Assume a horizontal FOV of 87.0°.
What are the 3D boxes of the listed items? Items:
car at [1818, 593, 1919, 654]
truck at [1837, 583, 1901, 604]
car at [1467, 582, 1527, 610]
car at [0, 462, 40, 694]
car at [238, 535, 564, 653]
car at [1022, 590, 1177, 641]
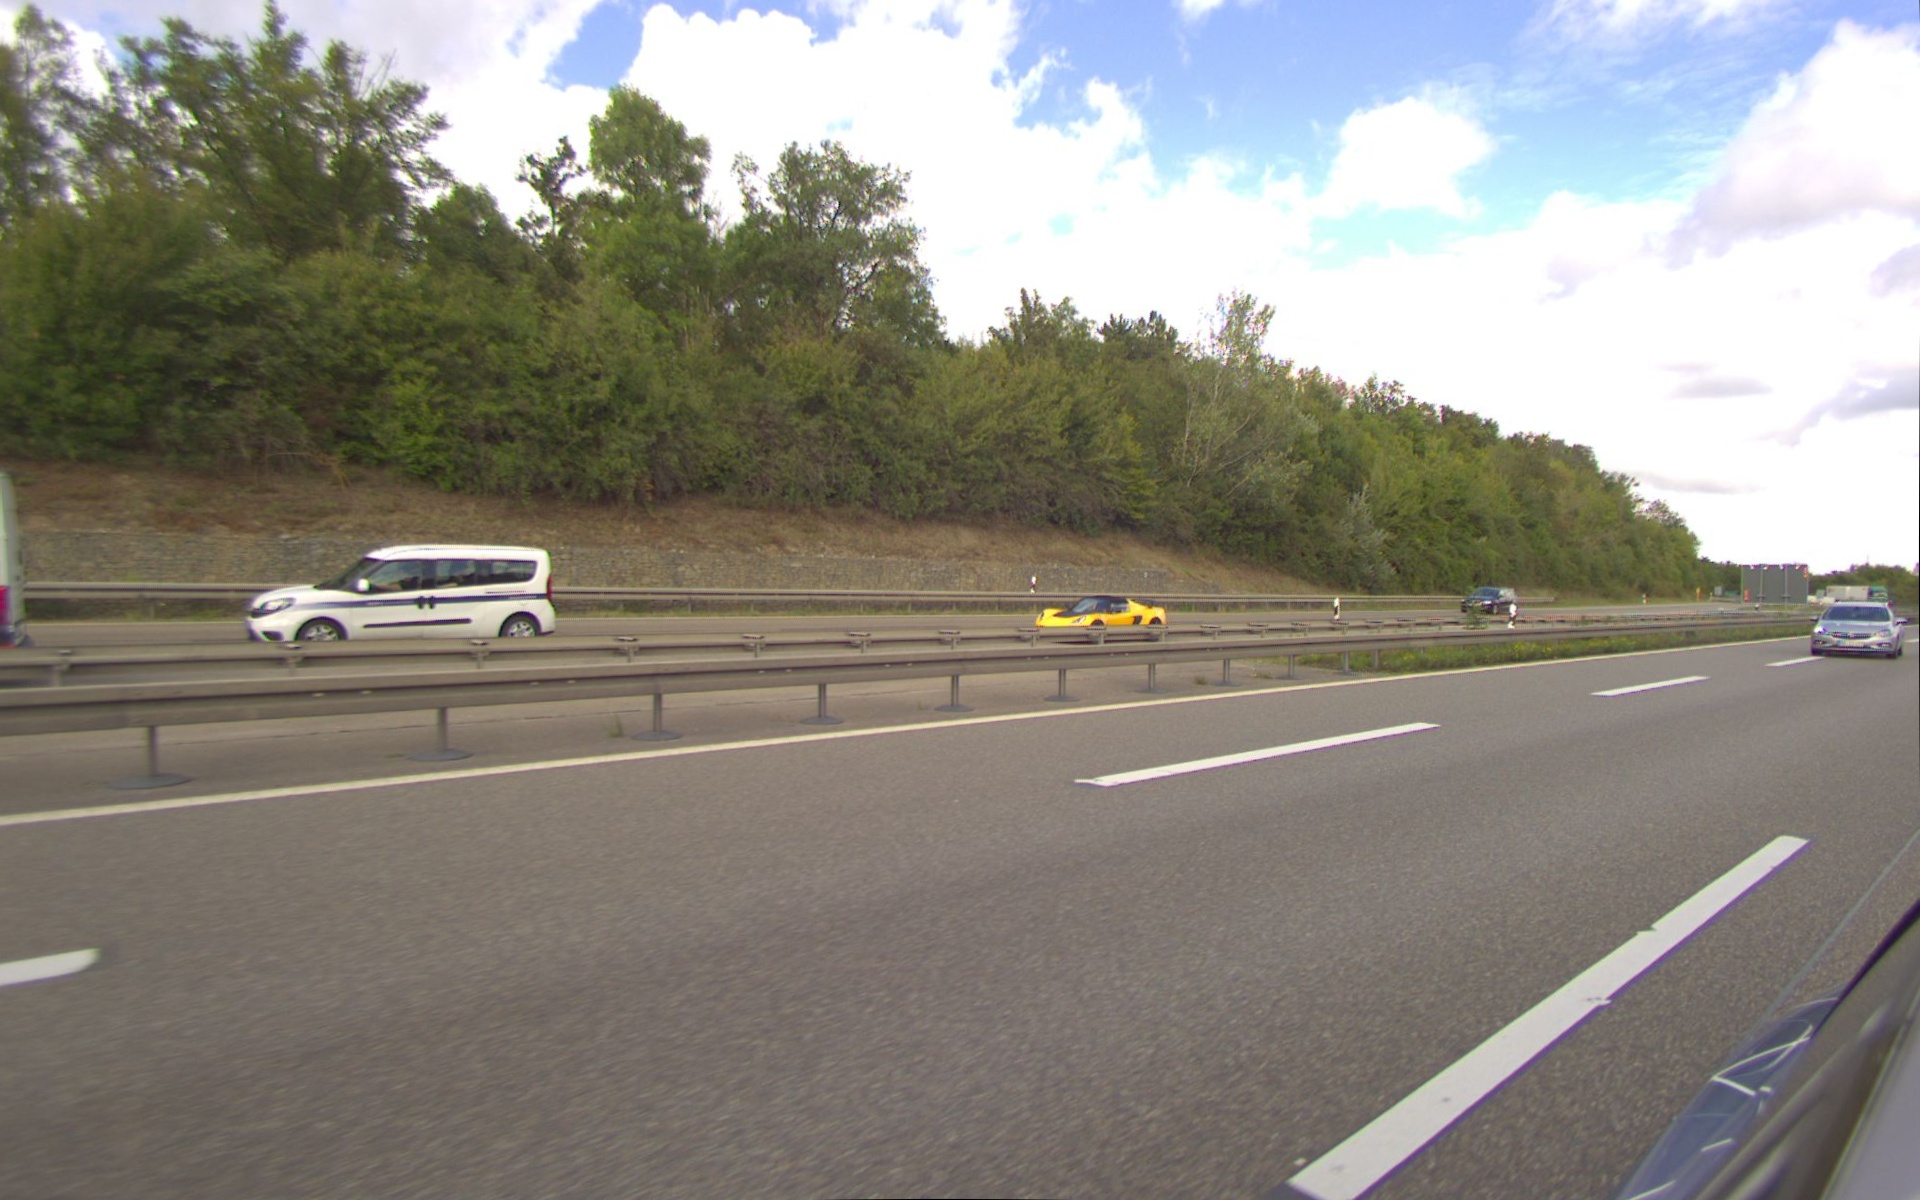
[{"bbox_3d":[25.122,0.586,27.838,4.536,1.503,1.686,0,1,-41],"label":"car"},{"bbox_3d":[173.250,-1.270,193.139,2.926,3.845,13.404,1,1,14],"label":"truck"},{"bbox_3d":[29.843,-0.221,56.173,4.098,1.433,1.714,0,2,-43],"label":"car"},{"bbox_3d":[-13.658,-0.290,10.046,6.626,2.586,2.073,0,2,-42],"label":"car"},{"bbox_3d":[-9.537,-0.105,17.509,4.680,1.774,1.847,0,1,-41],"label":"car"},{"bbox_3d":[3.657,0.358,26.106,4.096,1.196,1.715,0,1,-41],"label":"car"}]
